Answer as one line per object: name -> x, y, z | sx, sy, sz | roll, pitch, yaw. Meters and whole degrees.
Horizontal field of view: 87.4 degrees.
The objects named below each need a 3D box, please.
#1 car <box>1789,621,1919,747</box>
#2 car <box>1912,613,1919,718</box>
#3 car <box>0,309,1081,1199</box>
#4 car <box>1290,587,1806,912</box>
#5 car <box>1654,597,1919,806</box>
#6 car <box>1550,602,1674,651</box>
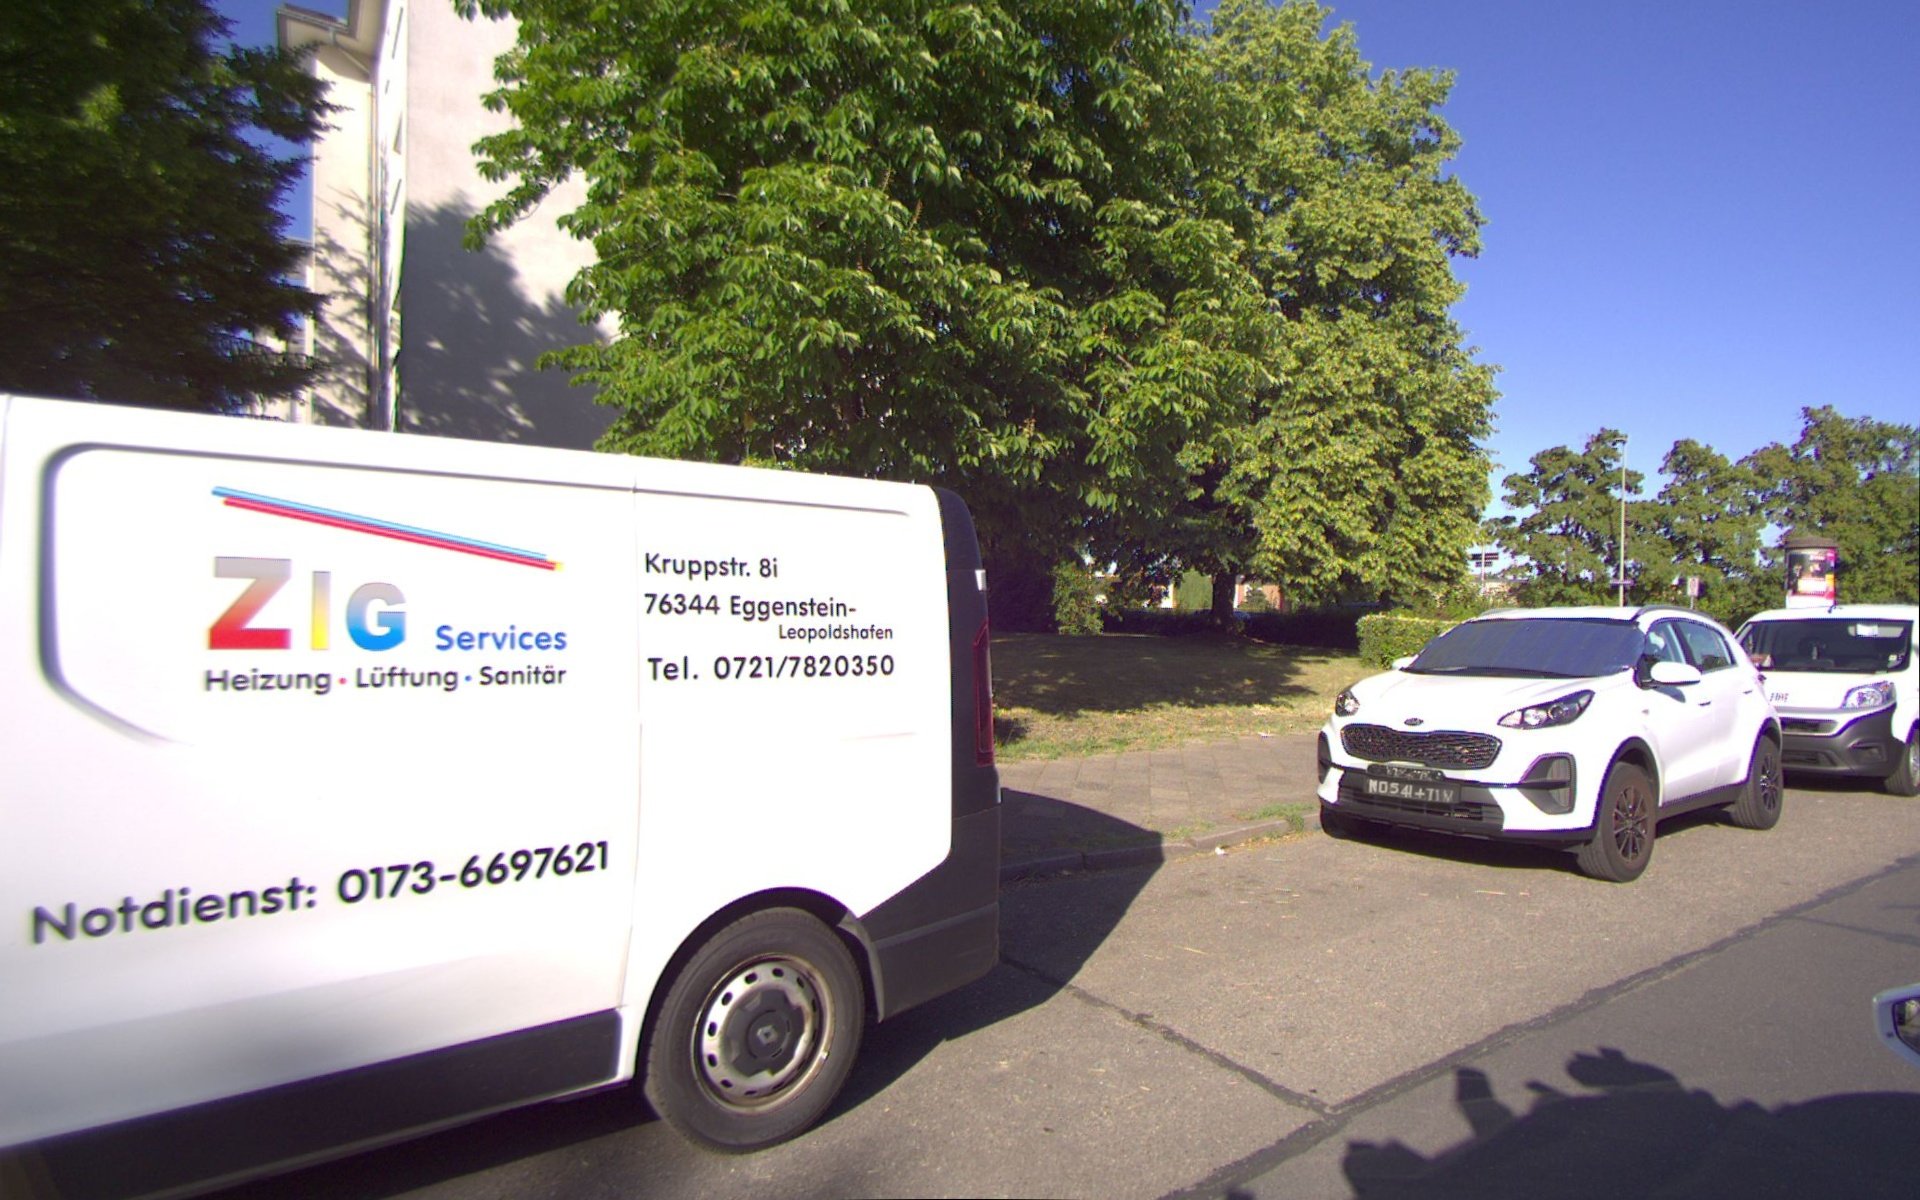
car -> 12.893, 1.037, 13.443 | 4.111, 1.498, 1.735 | 1, -1, -35
car -> 17.046, 1.034, 16.123 | 4.264, 1.634, 1.735 | 1, -1, -35
car -> -2.195, 0.473, 2.702 | 5.035, 1.988, 1.903 | 1, -1, -35
car -> 4.410, 0.823, 7.262 | 4.338, 1.692, 1.733 | 1, -1, -38
car -> 8.938, 0.890, 10.296 | 3.965, 1.755, 1.735 | 1, -1, -35
car -> 23.677, 0.925, 36.560 | 1.594, 1.582, 3.469 | 1, 1, -39
